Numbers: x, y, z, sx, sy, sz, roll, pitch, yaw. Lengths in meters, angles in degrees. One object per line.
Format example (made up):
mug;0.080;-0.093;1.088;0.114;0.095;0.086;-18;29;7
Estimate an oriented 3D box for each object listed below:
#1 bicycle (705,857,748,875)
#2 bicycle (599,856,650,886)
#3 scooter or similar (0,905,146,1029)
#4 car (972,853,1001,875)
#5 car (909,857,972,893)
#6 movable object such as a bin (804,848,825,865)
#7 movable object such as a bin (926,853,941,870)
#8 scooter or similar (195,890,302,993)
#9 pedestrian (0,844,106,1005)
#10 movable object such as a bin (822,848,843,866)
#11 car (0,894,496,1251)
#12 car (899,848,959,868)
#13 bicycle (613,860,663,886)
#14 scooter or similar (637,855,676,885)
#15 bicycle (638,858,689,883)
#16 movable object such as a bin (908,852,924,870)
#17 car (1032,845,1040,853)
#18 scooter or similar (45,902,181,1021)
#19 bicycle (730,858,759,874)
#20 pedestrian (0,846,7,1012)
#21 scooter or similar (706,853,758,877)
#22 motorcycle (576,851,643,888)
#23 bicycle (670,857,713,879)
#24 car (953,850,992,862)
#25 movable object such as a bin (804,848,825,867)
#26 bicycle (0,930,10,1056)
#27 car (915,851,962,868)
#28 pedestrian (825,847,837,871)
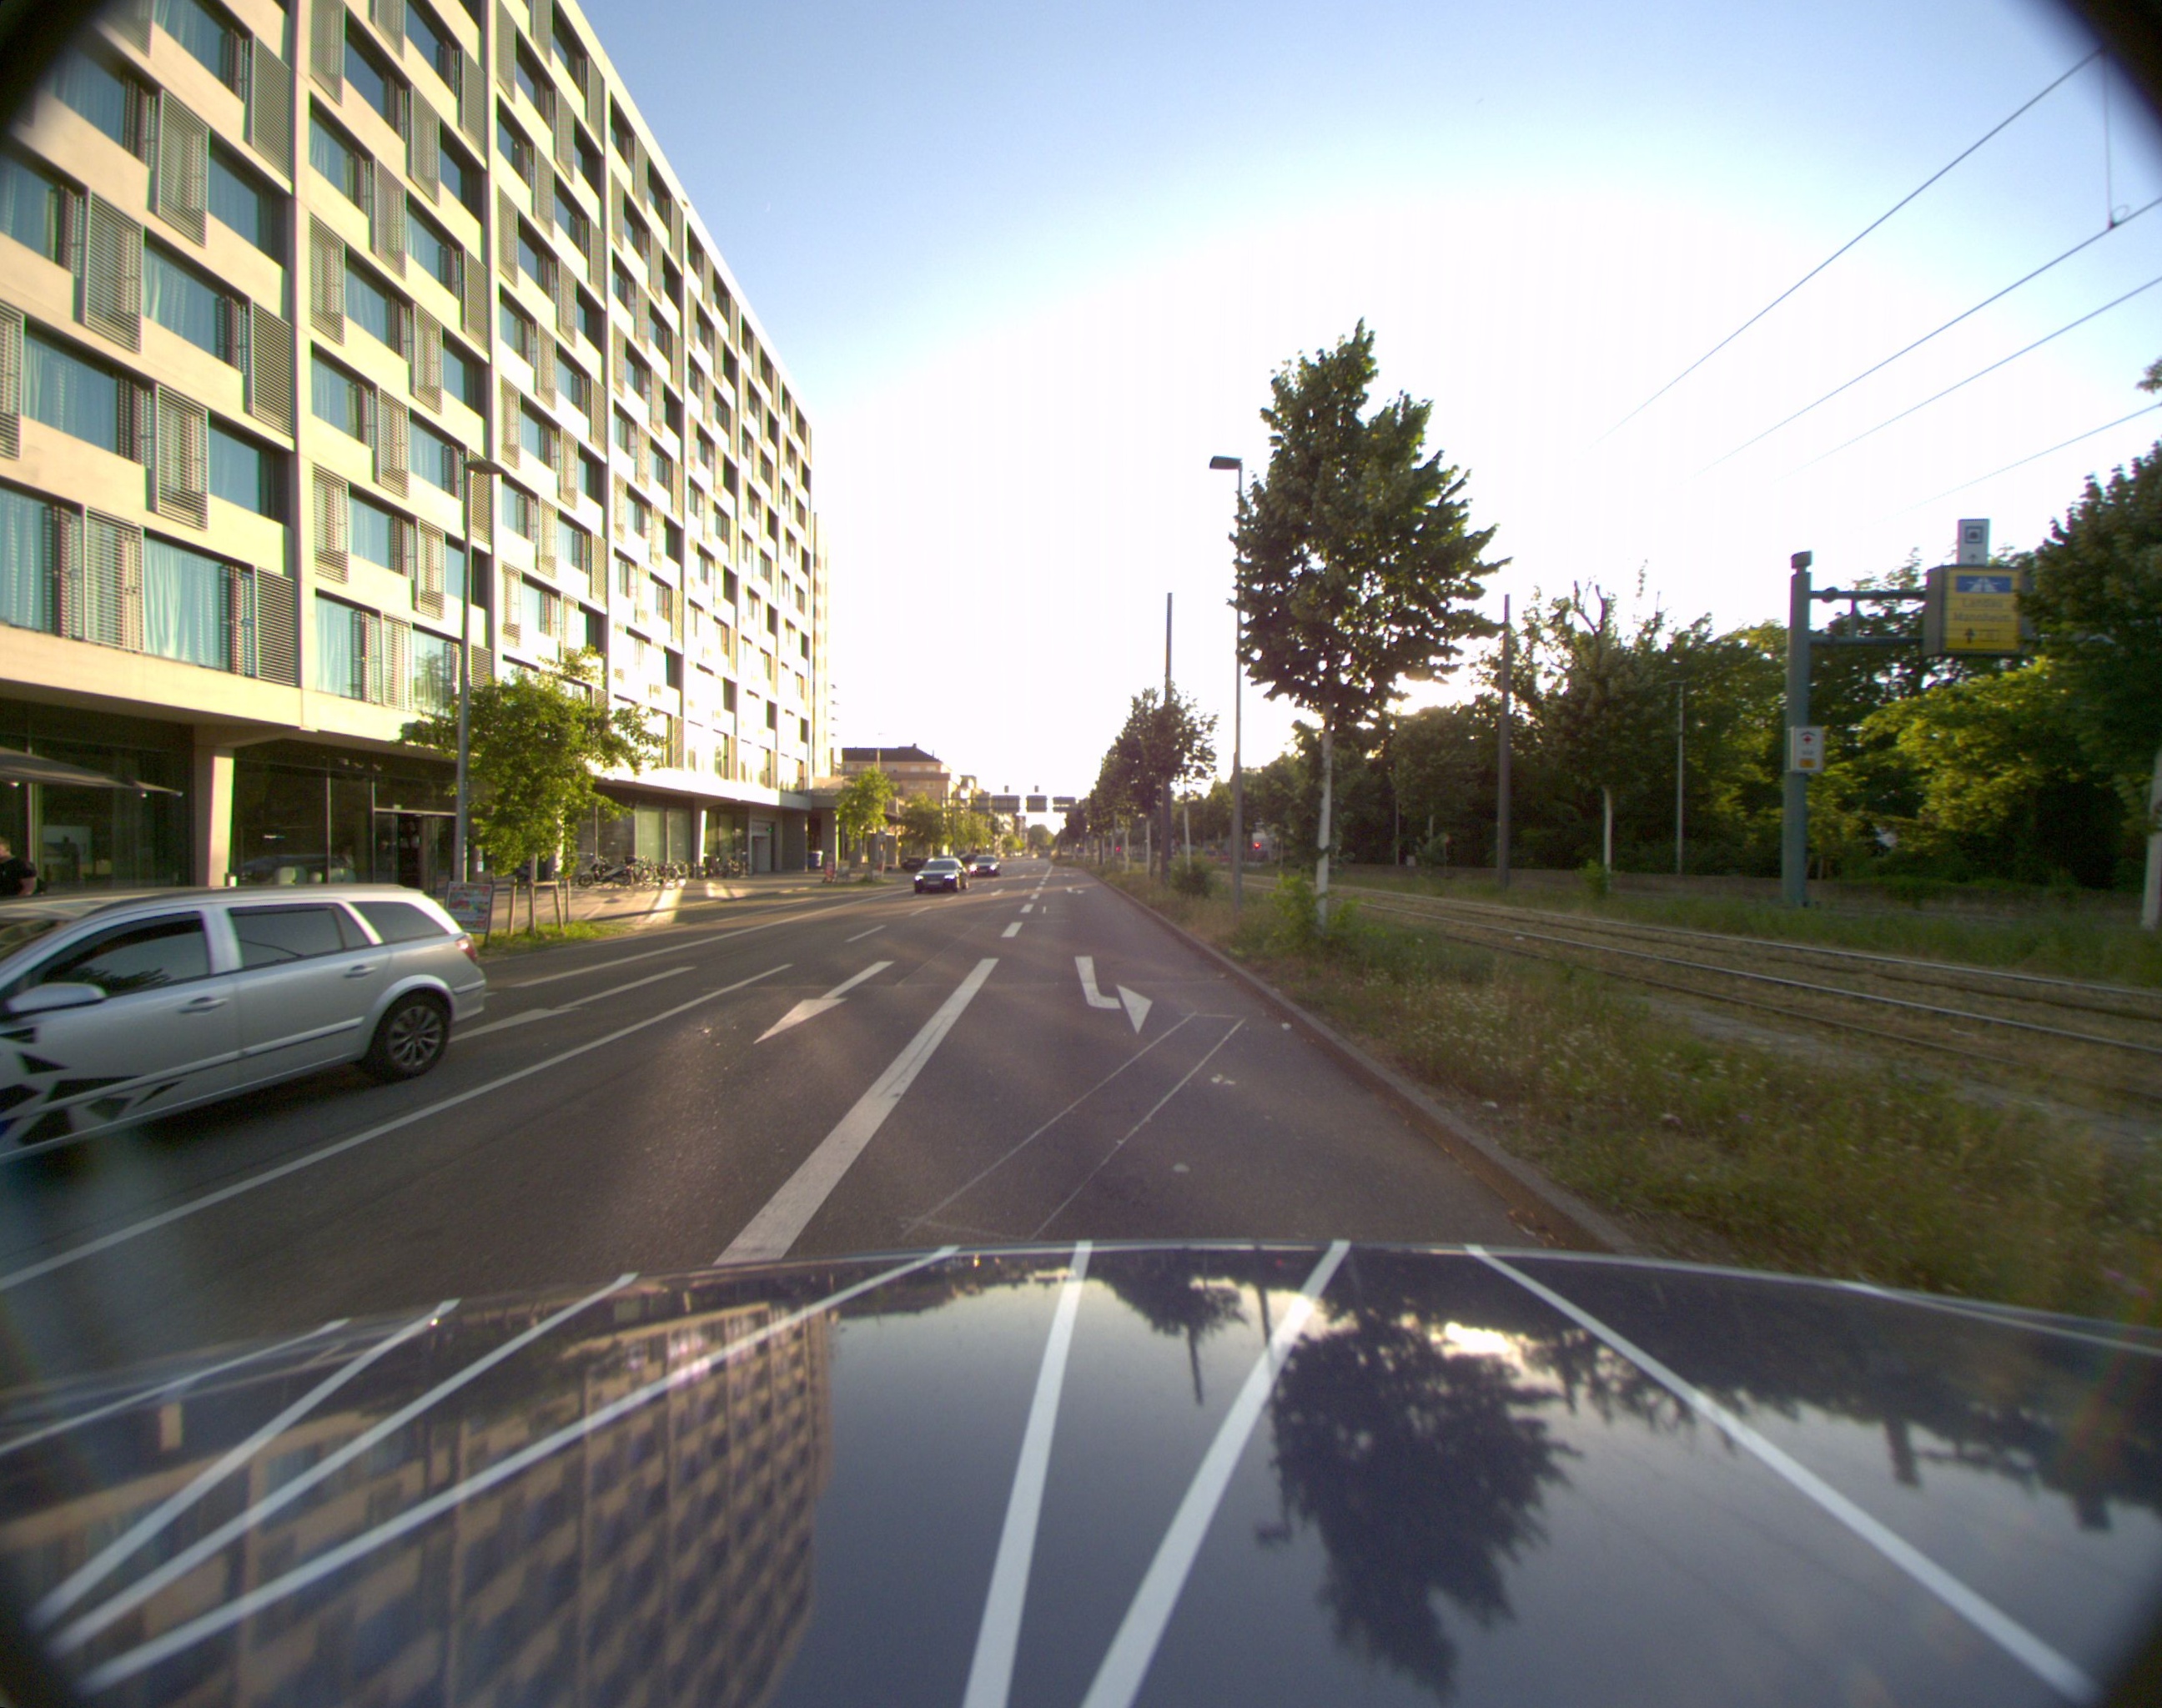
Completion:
bicycle;-19.280;0.640;41.330;2.022;0.952;0.620;1;1;-8
bicycle;-18.439;0.693;30.729;1.613;1.148;0.611;2;0;-14
scooter or similar;-10.748;1.173;8.000;1.159;1.185;0.509;2;2;0
car;-6.510;0.672;52.686;1.863;1.387;4.274;-2;0;-5
car;-6.034;0.854;33.156;1.915;1.387;4.276;-2;0;0
movable object such as a bin;-21.022;0.219;59.963;1.185;1.291;1.304;1;0;-3
movable object such as a bin;-11.875;0.592;61.106;1.088;1.294;1.360;2;0;-8
scooter or similar;-11.144;1.145;10.173;1.293;1.211;0.536;3;2;22
pedestrian;-12.687;0.806;9.116;0.757;1.814;0.941;2;1;7
movable object such as a bin;-19.653;0.252;60.119;1.185;1.315;1.266;3;0;-3
car;-5.863;1.105;4.226;1.833;1.455;4.302;-2;0;0
car;-13.177;0.373;65.894;4.680;1.499;1.933;2;1;-41
bicycle;-18.407;0.785;31.602;1.704;0.980;0.550;2;0;-5
scooter or similar;-18.011;0.664;32.251;1.271;1.226;0.608;2;0;-6
bicycle;-18.501;0.724;33.696;1.891;1.004;0.565;2;1;-4
movable object such as a bin;-13.227;0.570;60.919;1.017;1.339;1.160;3;0;-7
car;-11.929;-1.341;202.042;1.727;1.910;4.292;-2;0;-6
scooter or similar;-11.117;1.205;8.737;1.129;1.207;0.532;3;2;14
bicycle;-18.975;0.688;42.855;1.425;0.886;0.457;1;1;-2
pedestrian;-12.388;0.820;8.035;0.745;1.838;0.941;3;1;7
scooter or similar;-18.271;0.576;39.779;2.379;1.176;0.620;2;1;-2
motorcycle;-18.489;0.594;29.827;2.120;1.378;0.671;2;0;-16
bicycle;-18.589;0.673;36.304;1.704;0.980;0.550;2;0;-5
car;-13.480;0.261;94.443;4.617;1.445;1.808;2;0;-43
movable object such as a bin;-19.544;0.280;55.688;1.108;1.322;1.282;2;0;-3
bicycle;-10.974;1.263;6.786;1.851;1.175;0.608;2;1;-2
car;-13.535;0.522;72.361;4.000;1.408;1.746;2;1;-40
pedestrian;-17.212;0.315;52.317;0.578;1.609;0.642;2;0;-5
